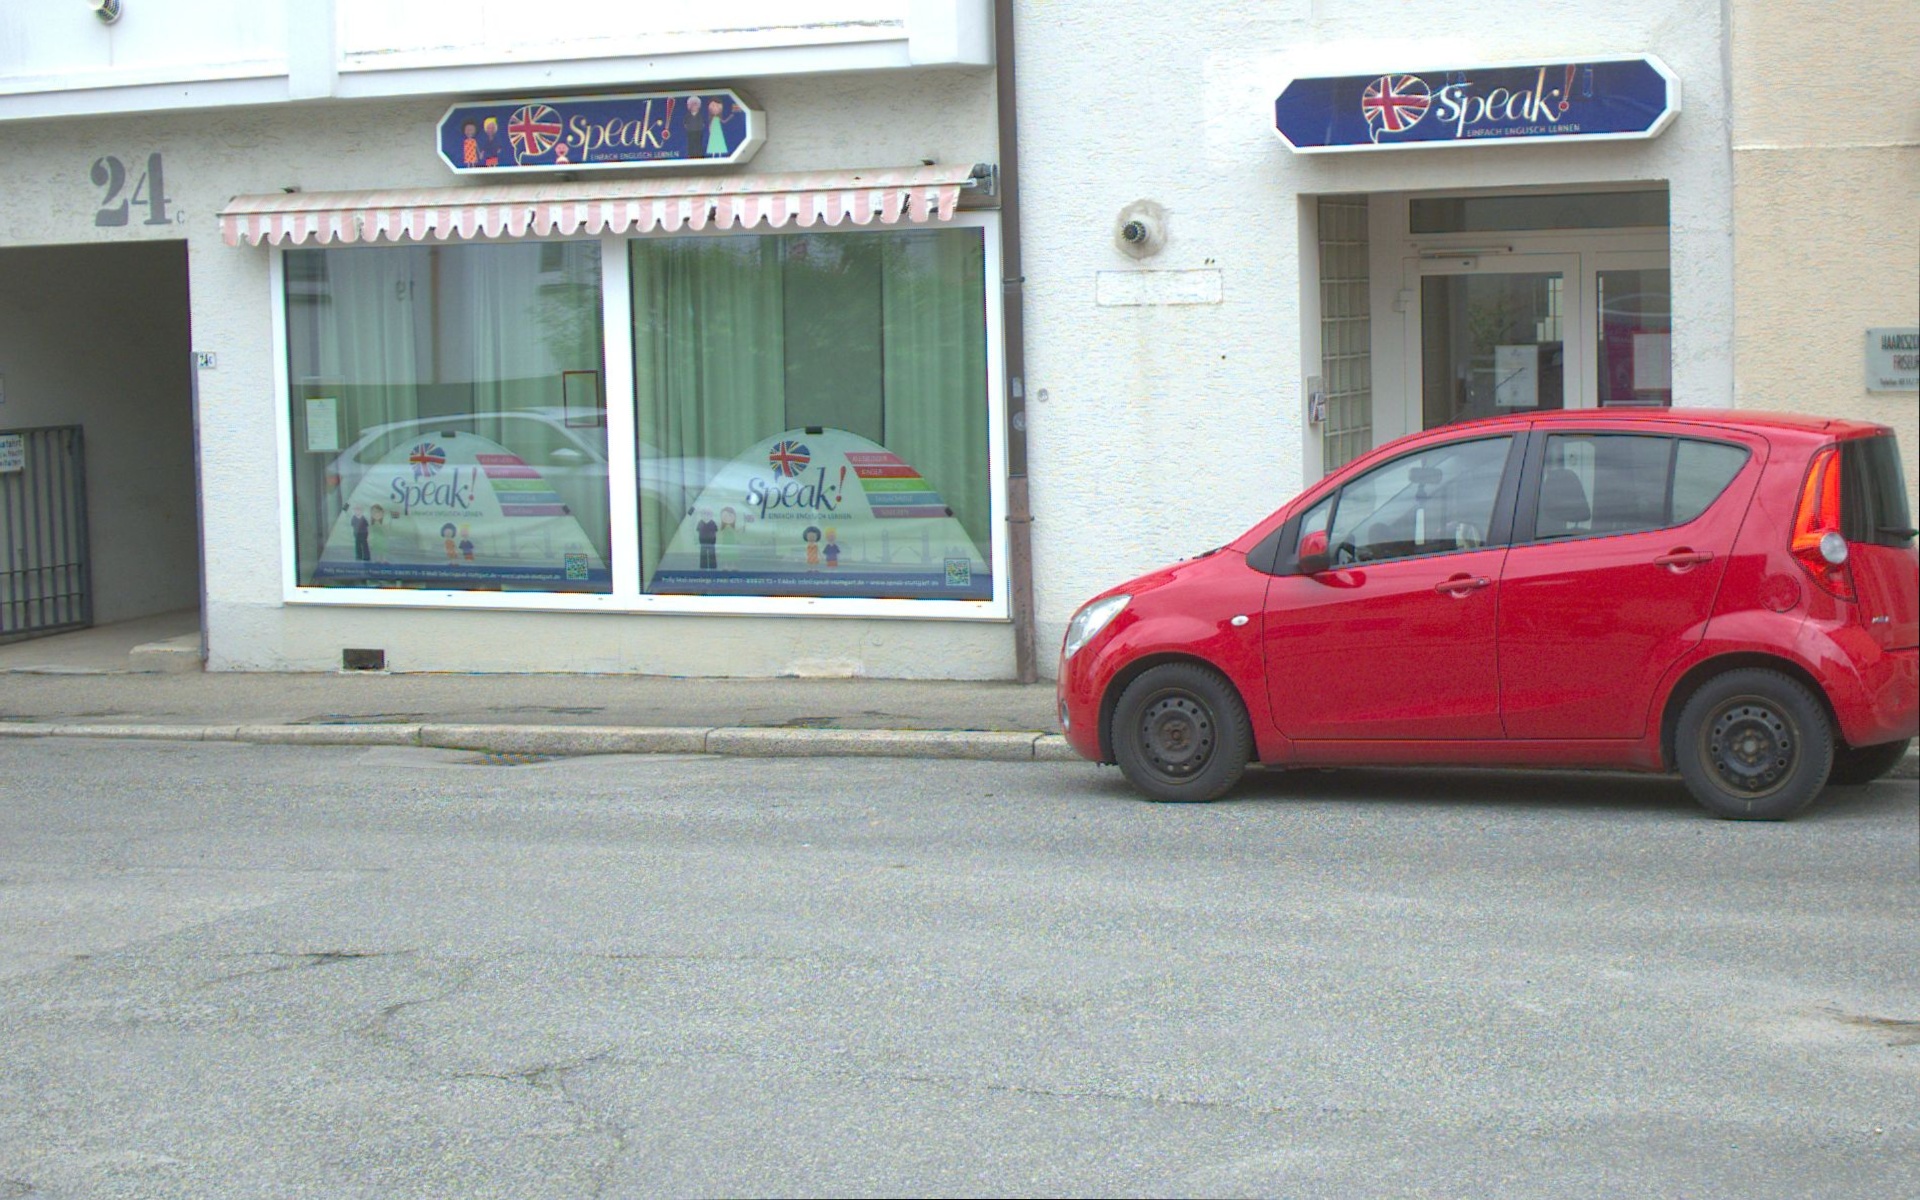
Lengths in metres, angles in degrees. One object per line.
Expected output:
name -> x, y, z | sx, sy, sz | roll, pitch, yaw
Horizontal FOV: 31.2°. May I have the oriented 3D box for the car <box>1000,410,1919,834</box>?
car -> 2.202, 0.037, 14.168 | 3.689, 1.551, 1.695 | 0, 2, 28
